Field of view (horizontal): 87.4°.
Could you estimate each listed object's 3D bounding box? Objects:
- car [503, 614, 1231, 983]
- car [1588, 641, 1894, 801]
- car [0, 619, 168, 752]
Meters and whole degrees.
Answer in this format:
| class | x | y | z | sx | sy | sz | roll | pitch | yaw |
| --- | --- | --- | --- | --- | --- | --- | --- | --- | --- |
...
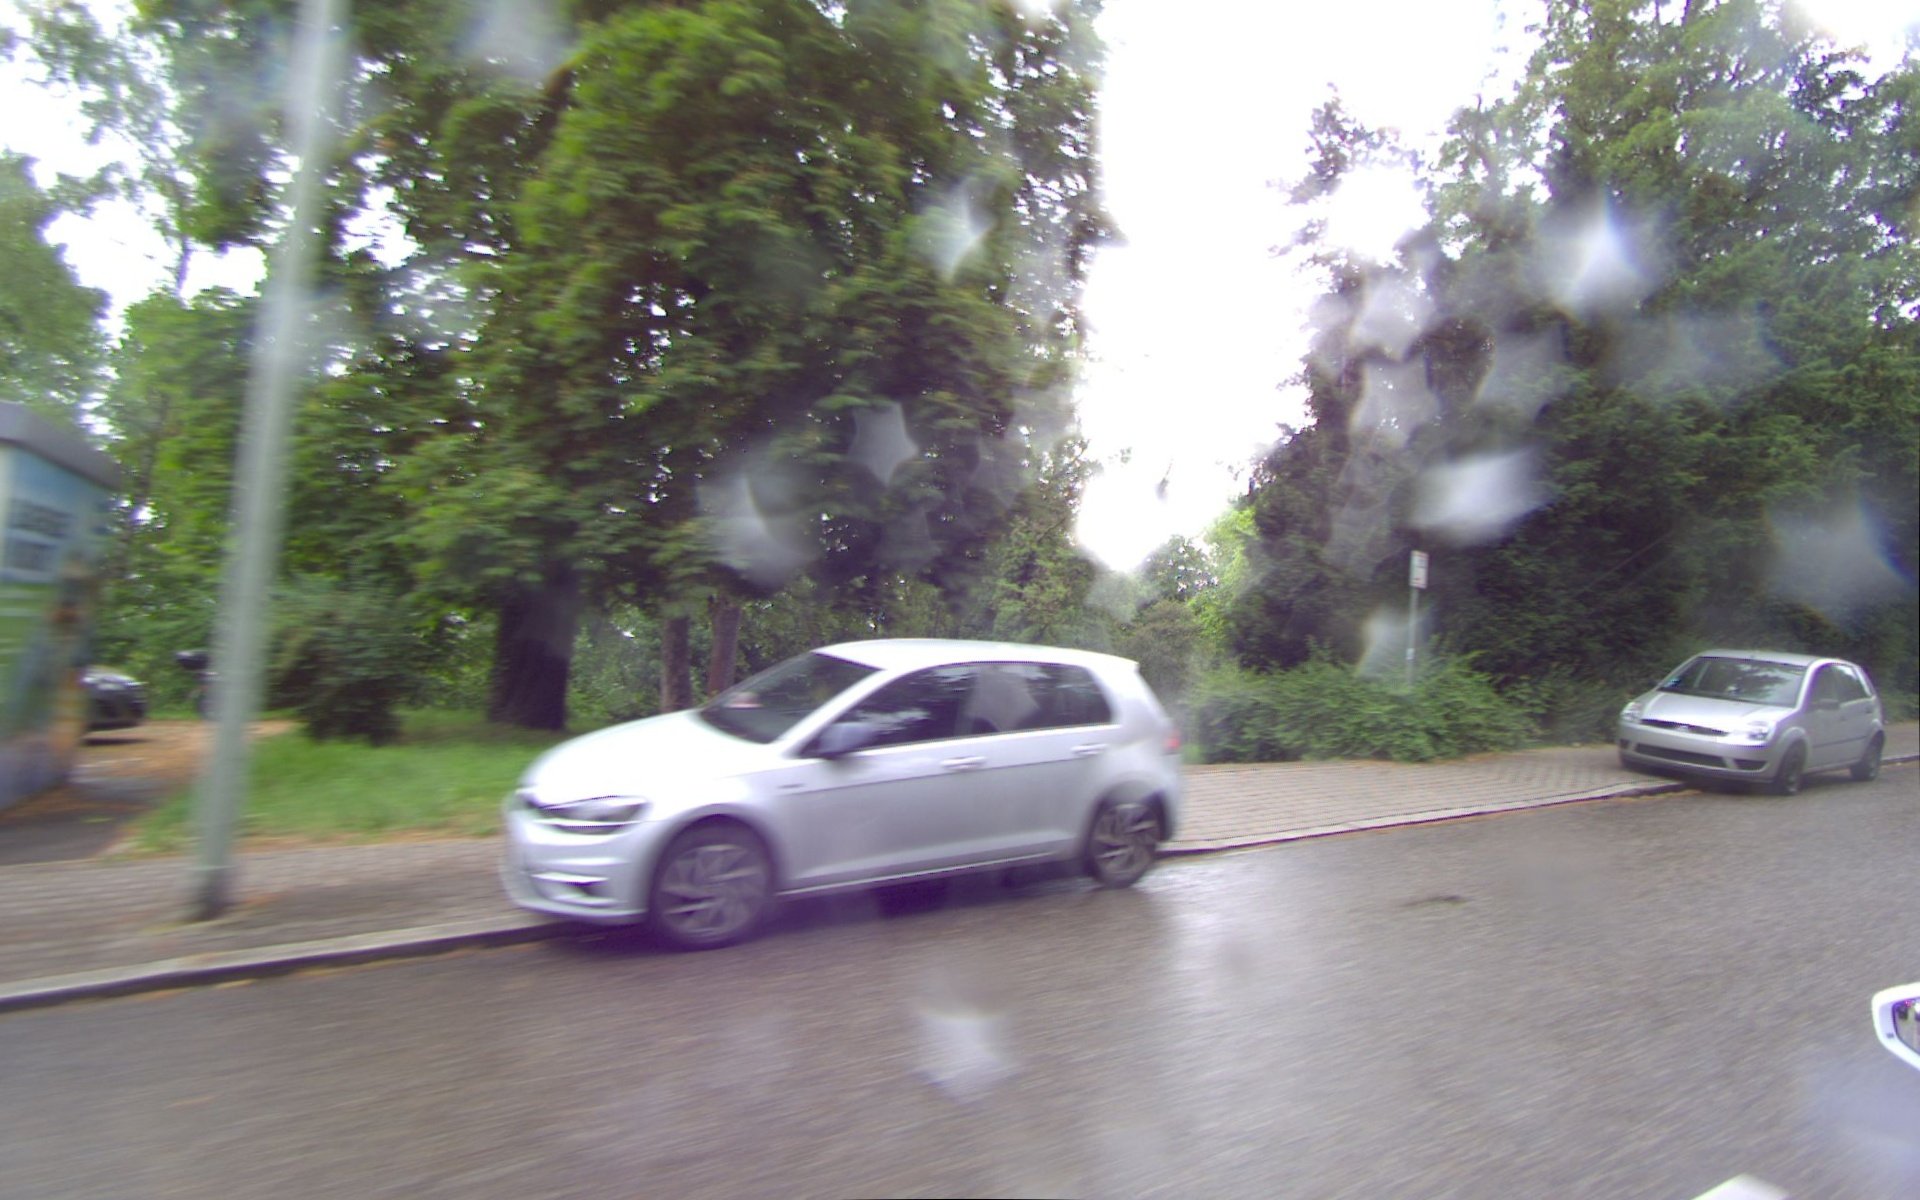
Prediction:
| class | x | y | z | sx | sy | sz | roll | pitch | yaw |
| --- | --- | --- | --- | --- | --- | --- | --- | --- | --- |
| car | -0.503 | 0.992 | 6.352 | 4.189 | 1.632 | 1.878 | 2 | -4 | -30 |
| car | 9.244 | 1.297 | 11.820 | 3.886 | 1.519 | 1.616 | 2 | 0 | -33 |
| car | -11.975 | 0.938 | 11.499 | 4.350 | 1.478 | 1.934 | 2 | -2 | -33 |
